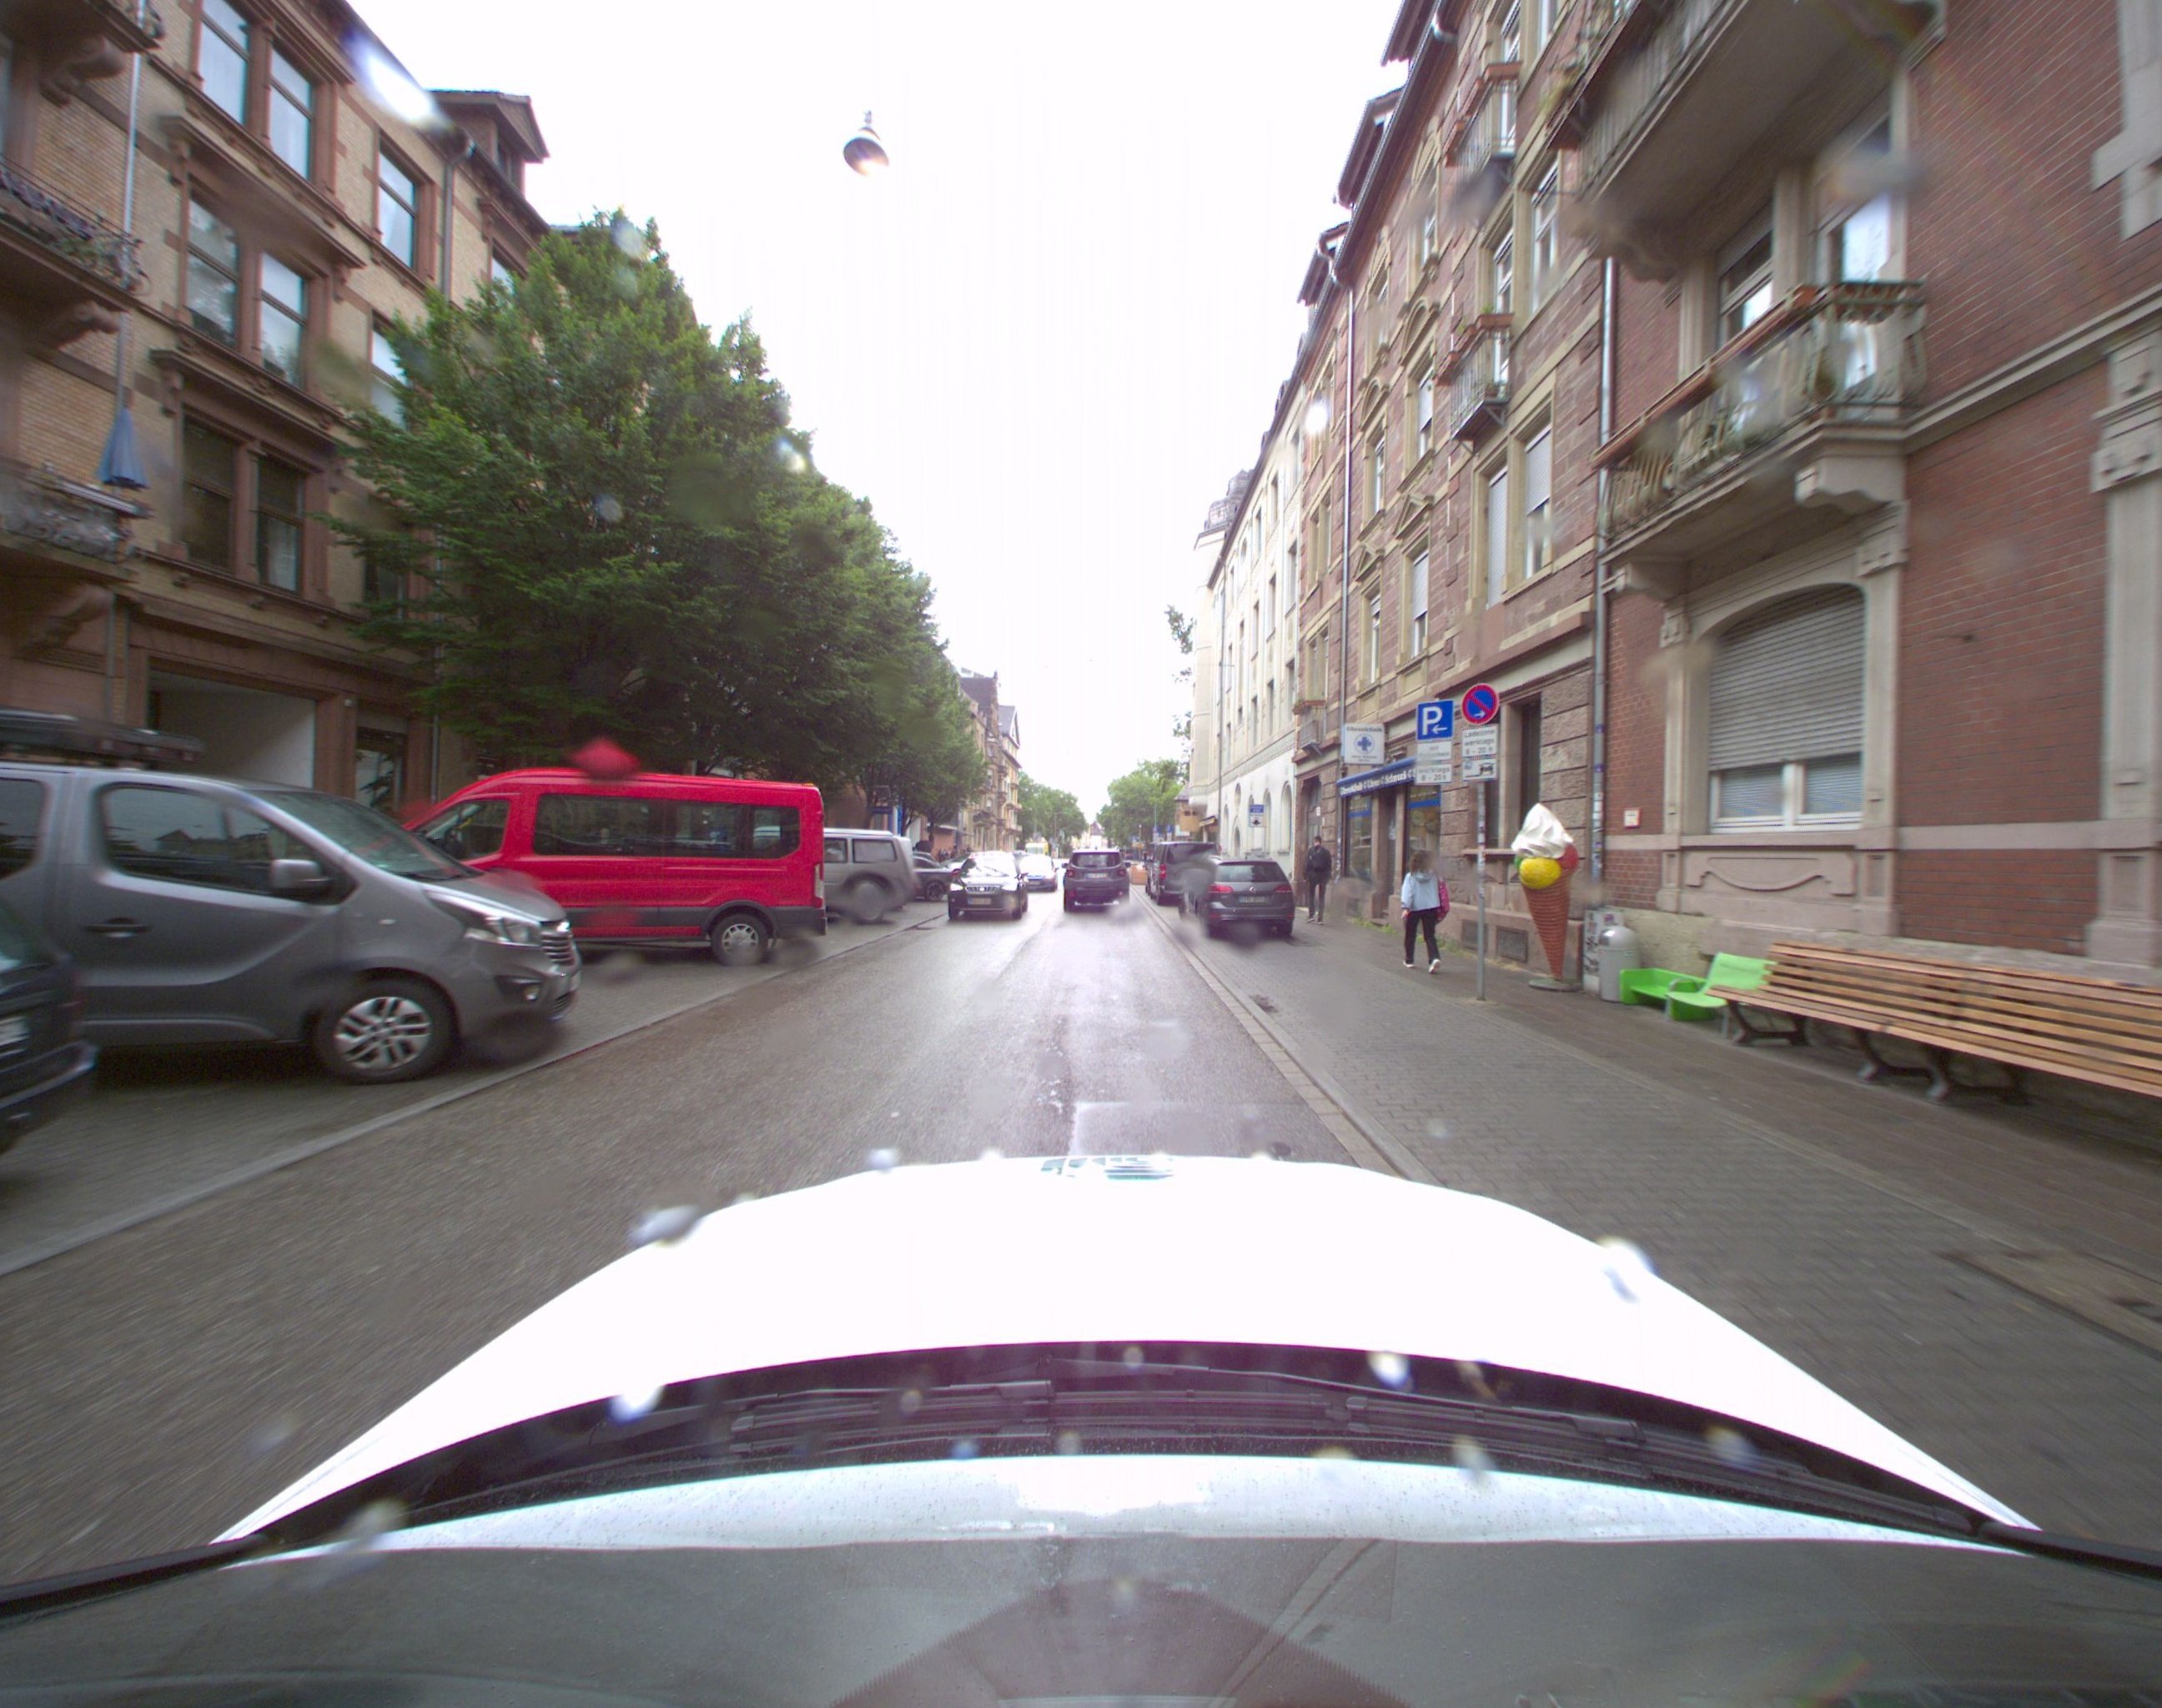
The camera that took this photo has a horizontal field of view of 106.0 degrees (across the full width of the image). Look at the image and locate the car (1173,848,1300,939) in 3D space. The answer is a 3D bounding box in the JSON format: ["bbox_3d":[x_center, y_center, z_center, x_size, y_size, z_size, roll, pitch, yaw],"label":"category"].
[{"bbox_3d":[2.905,0.685,16.041,1.834,1.545,4.004,0,0,1],"label":"car"}]

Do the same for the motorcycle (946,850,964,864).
[{"bbox_3d":[-11.483,0.280,74.288,0.748,1.174,2.123,3,0,13],"label":"motorcycle"}]

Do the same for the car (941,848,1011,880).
[{"bbox_3d":[-5.677,0.514,44.098,3.398,1.654,1.617,0,0,-32],"label":"car"}]

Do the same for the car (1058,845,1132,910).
[{"bbox_3d":[0.372,0.608,23.229,1.892,1.671,4.505,0,0,0],"label":"car"}]

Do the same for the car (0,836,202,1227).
[{"bbox_3d":[-6.328,0.620,2.617,4.359,1.504,1.743,3,0,-22],"label":"car"}]

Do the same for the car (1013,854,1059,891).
[{"bbox_3d":[-1.817,0.725,34.097,1.664,1.465,4.003,0,0,0],"label":"car"}]

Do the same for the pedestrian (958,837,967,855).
[{"bbox_3d":[-11.490,-0.750,78.891,0.663,1.757,0.791,0,0,-23],"label":"pedestrian"}]

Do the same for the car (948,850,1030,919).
[{"bbox_3d":[-2.219,0.711,20.620,1.665,1.559,4.001,1,0,-1],"label":"car"}]

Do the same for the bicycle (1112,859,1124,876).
[{"bbox_3d":[2.376,0.832,52.258,0.702,1.054,1.813,0,0,2],"label":"bicycle"}]

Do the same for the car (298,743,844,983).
[{"bbox_3d":[-6.244,0.134,10.869,5.584,2.541,2.210,1,0,-27],"label":"car"}]

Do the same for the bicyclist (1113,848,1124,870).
[{"bbox_3d":[2.379,0.296,52.260,0.702,1.403,1.171,0,0,1],"label":"bicyclist"}]

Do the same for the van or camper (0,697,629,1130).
[{"bbox_3d":[-6.109,0.309,5.589,5.033,2.349,2.325,1,0,-25],"label":"van or camper"}]

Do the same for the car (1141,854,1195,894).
[{"bbox_3d":[3.222,0.720,30.818,1.704,1.400,3.705,0,0,1],"label":"car"}]

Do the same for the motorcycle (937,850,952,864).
[{"bbox_3d":[-11.739,0.263,70.015,0.750,1.174,2.116,3,0,2],"label":"motorcycle"}]

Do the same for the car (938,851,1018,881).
[{"bbox_3d":[-5.249,0.567,41.618,3.729,1.452,1.668,0,0,-34],"label":"car"}]

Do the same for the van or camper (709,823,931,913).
[{"bbox_3d":[-6.474,0.356,20.472,4.722,1.953,2.310,3,1,-41],"label":"van or camper"}]

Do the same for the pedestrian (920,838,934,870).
[{"bbox_3d":[-8.196,0.005,43.275,0.609,1.707,0.433,1,-2,1],"label":"pedestrian"}]

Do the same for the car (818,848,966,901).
[{"bbox_3d":[-5.709,0.633,24.816,3.998,1.447,1.747,3,0,-39],"label":"car"}]

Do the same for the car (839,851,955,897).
[{"bbox_3d":[-6.169,0.624,27.514,3.499,1.435,1.632,0,0,-41],"label":"car"}]

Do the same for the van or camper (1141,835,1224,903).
[{"bbox_3d":[3.048,0.410,25.482,2.014,1.891,5.055,0,0,1],"label":"van or camper"}]

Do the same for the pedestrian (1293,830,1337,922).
[{"bbox_3d":[5.099,0.473,17.697,0.672,1.934,0.815,-1,-3,36],"label":"pedestrian"}]

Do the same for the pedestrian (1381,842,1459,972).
[{"bbox_3d":[4.359,0.657,10.516,0.676,1.613,0.810,0,0,1],"label":"pedestrian"}]

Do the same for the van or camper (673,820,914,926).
[{"bbox_3d":[-5.971,0.396,17.088,4.463,1.975,1.764,2,0,-32],"label":"van or camper"}]

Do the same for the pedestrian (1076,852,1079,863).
[{"bbox_3d":[-0.507,0.521,126.310,0.466,1.585,0.752,0,0,0],"label":"pedestrian"}]

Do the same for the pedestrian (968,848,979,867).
[{"bbox_3d":[-9.362,0.313,70.954,0.705,1.551,0.609,3,0,8],"label":"pedestrian"}]

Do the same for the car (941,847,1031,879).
[{"bbox_3d":[-5.503,0.535,47.302,4.540,1.539,2.314,5,-3,-32],"label":"car"}]

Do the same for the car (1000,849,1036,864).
[{"bbox_3d":[-7.298,0.318,94.075,3.680,1.558,1.780,3,-1,-35],"label":"car"}]

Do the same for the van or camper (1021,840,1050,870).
[{"bbox_3d":[-4.324,0.174,78.285,2.114,2.531,6.875,-3,-2,1],"label":"van or camper"}]

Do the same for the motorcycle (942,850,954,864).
[{"bbox_3d":[-11.806,0.236,72.168,0.751,1.174,2.114,3,0,-2],"label":"motorcycle"}]

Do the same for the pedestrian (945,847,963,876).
[{"bbox_3d":[-7.745,0.452,49.779,0.820,1.752,0.758,3,0,8],"label":"pedestrian"}]

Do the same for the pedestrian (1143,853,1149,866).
[{"bbox_3d":[8.242,0.700,103.637,0.688,1.711,0.684,0,0,1],"label":"pedestrian"}]
